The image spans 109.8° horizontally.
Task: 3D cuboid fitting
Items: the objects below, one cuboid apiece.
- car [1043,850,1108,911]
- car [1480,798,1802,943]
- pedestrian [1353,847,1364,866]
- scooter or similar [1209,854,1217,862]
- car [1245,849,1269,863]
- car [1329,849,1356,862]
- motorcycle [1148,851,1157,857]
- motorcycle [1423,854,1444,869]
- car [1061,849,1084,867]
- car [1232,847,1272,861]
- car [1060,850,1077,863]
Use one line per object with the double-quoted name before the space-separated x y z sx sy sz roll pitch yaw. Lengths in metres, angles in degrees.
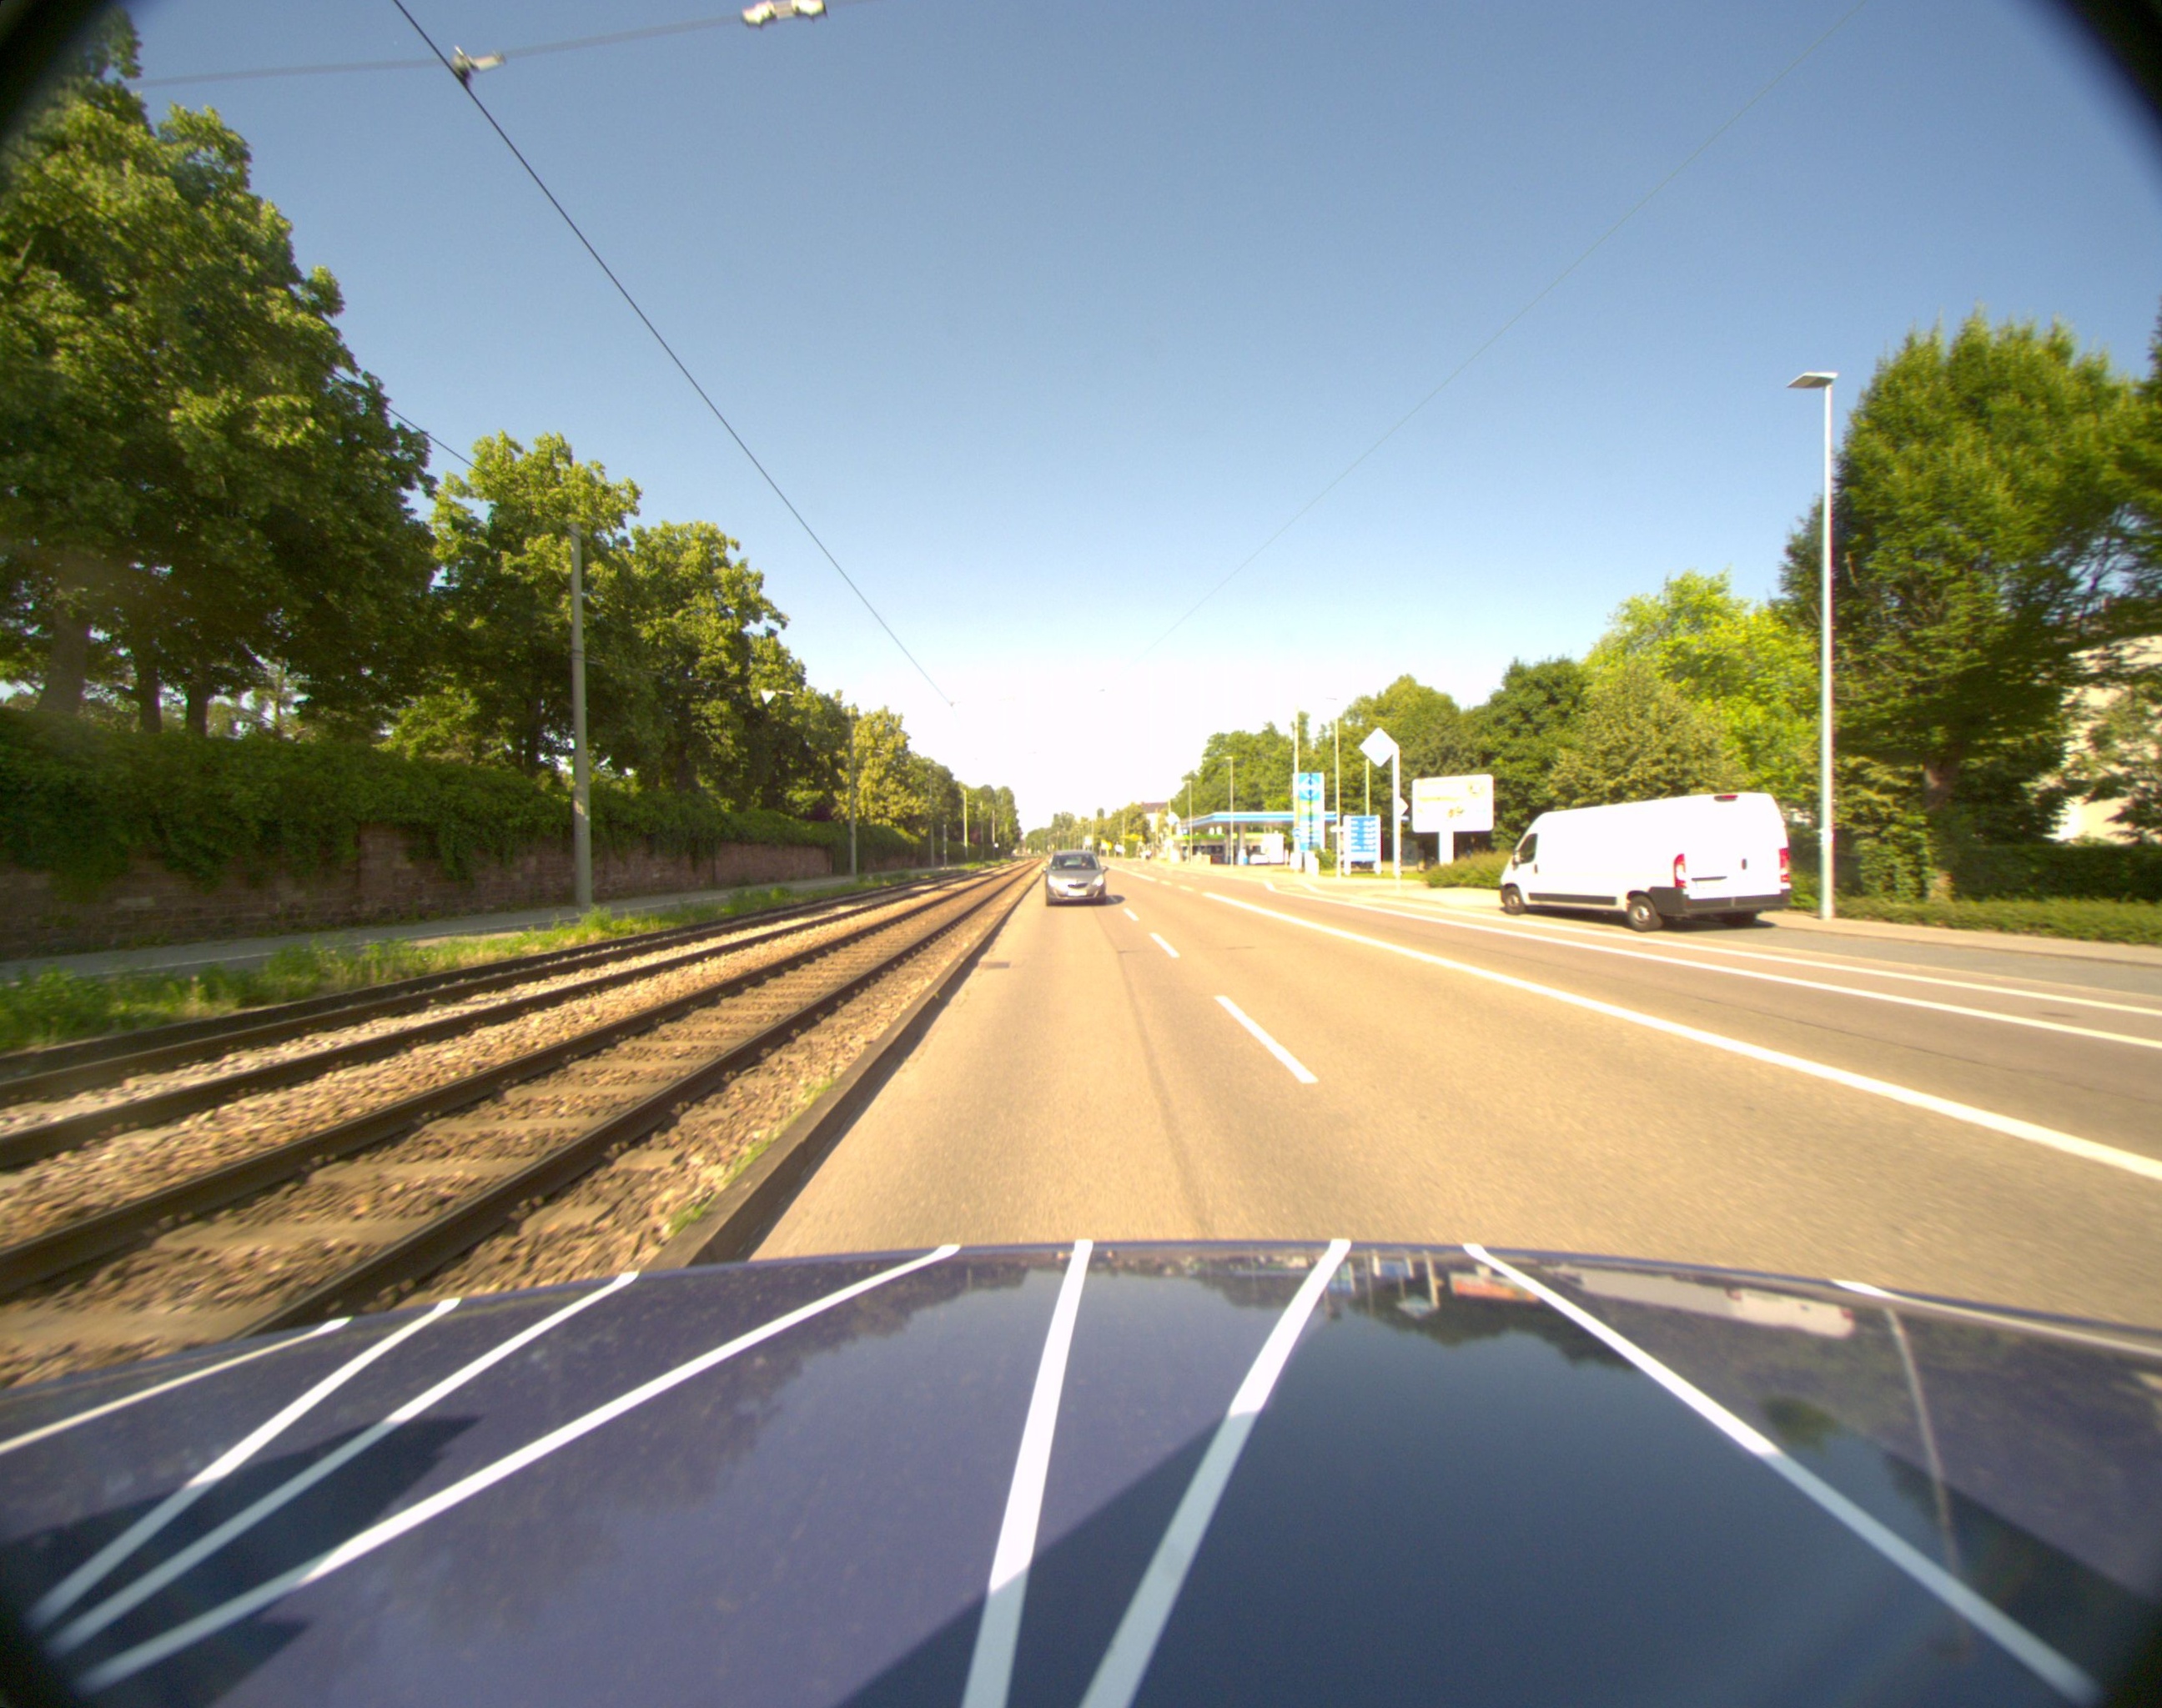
"car" -0.194 0.714 22.579 1.730 1.574 3.762 -2 1 -1
"car" 11.436 0.286 16.398 2.158 2.443 6.182 -3 0 -2
"pedestrian" 25.888 0.248 70.866 0.823 1.703 1.067 0 1 11
"scooter or similar" 18.022 0.517 103.924 1.031 1.103 0.350 0 1 5
"car" 19.942 0.214 86.211 1.741 1.482 4.274 0 0 -1
"car" 29.331 0.152 85.420 1.741 1.437 4.000 0 0 1
"motorcycle" 13.818 0.052 146.545 0.732 1.221 2.268 0 0 32
"motorcycle" 24.532 0.528 52.878 0.518 0.976 1.905 0 0 -2
"car" -0.763 0.320 66.300 1.710 1.487 3.998 -2 0 -4
"car" 23.272 -0.039 103.313 5.082 1.929 1.857 0 0 3
"car" -1.386 0.242 81.914 1.579 1.306 3.998 -2 0 -5
